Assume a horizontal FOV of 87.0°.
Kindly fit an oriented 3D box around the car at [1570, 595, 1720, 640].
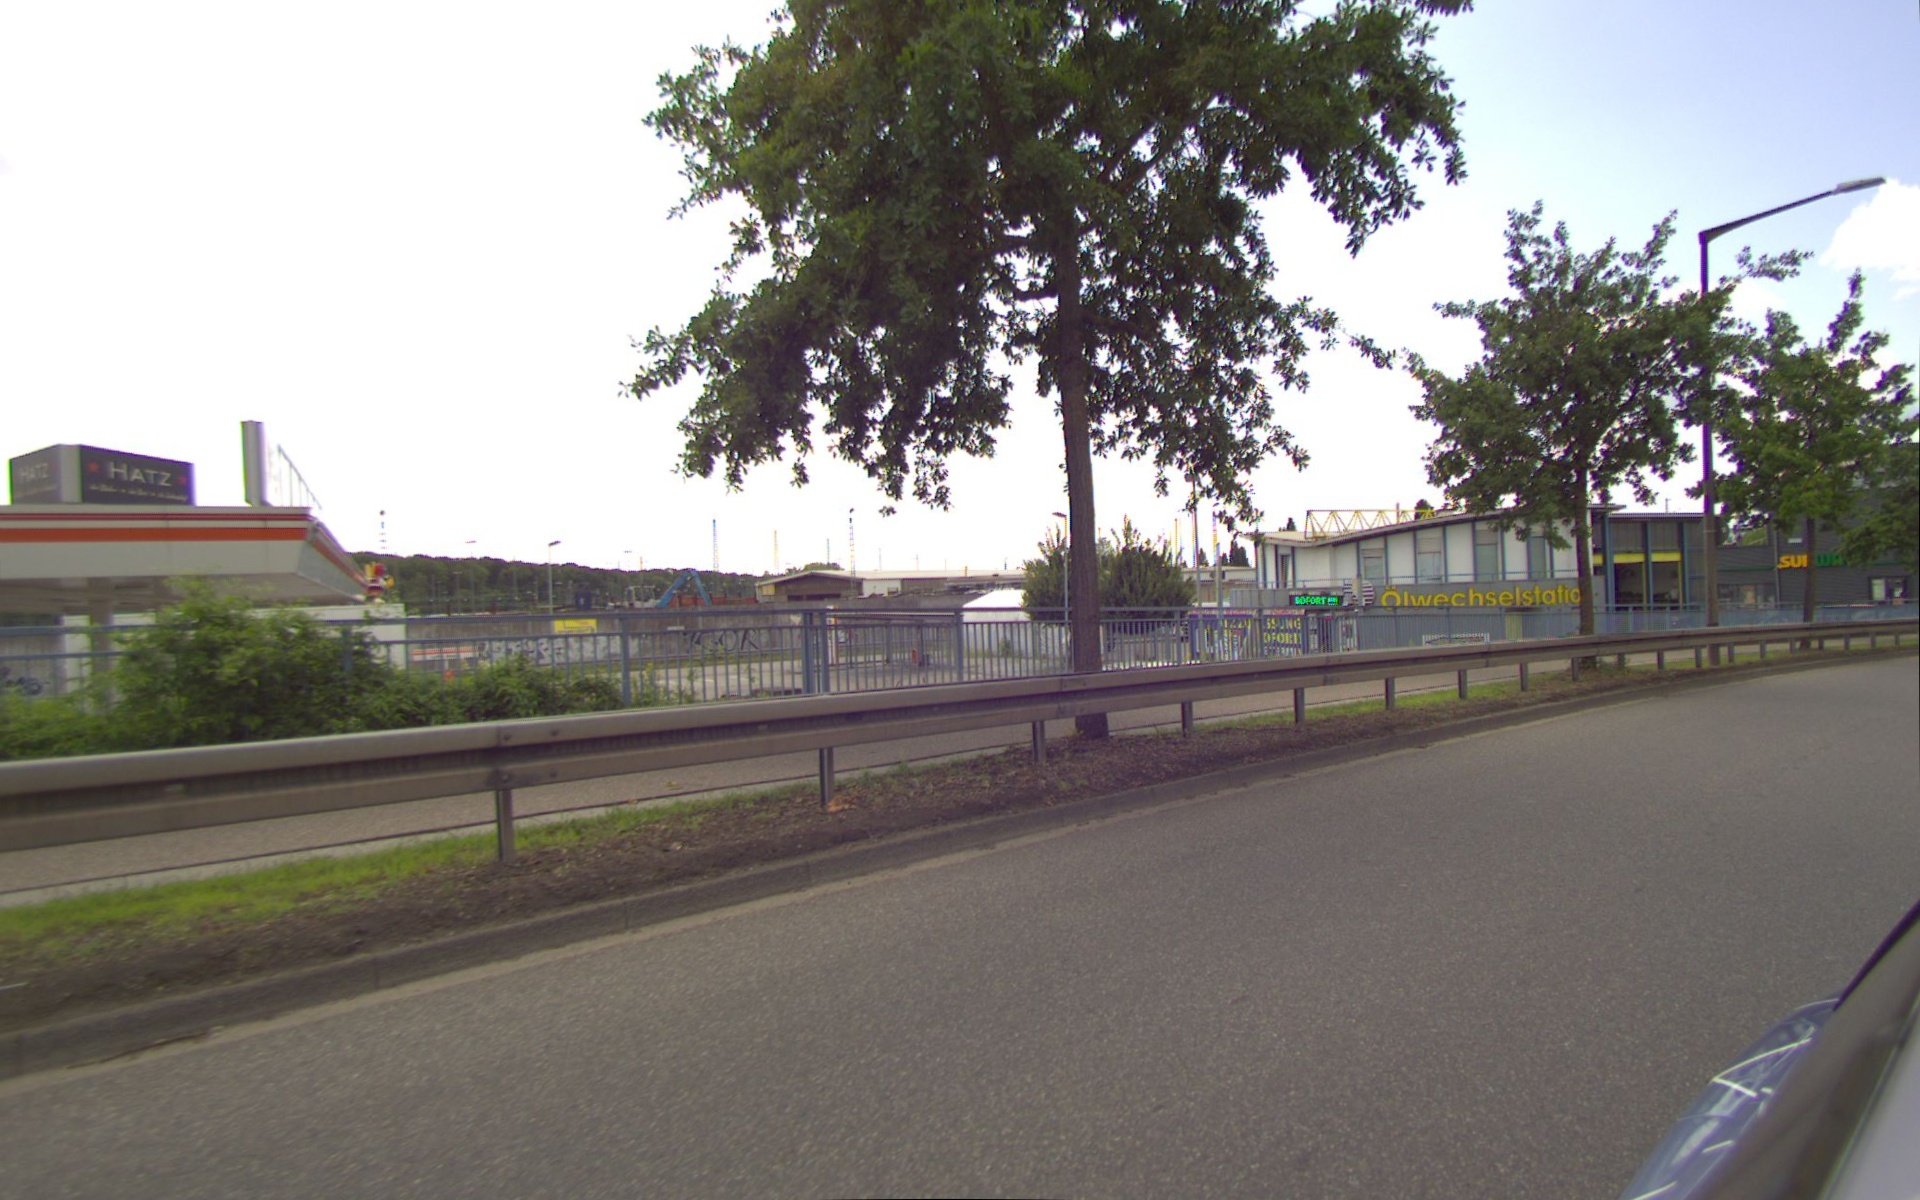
[{"bbox_3d":[34.119,0.849,50.645,2.188,2.039,5.828,-3,1,-28],"label":"car"}]
